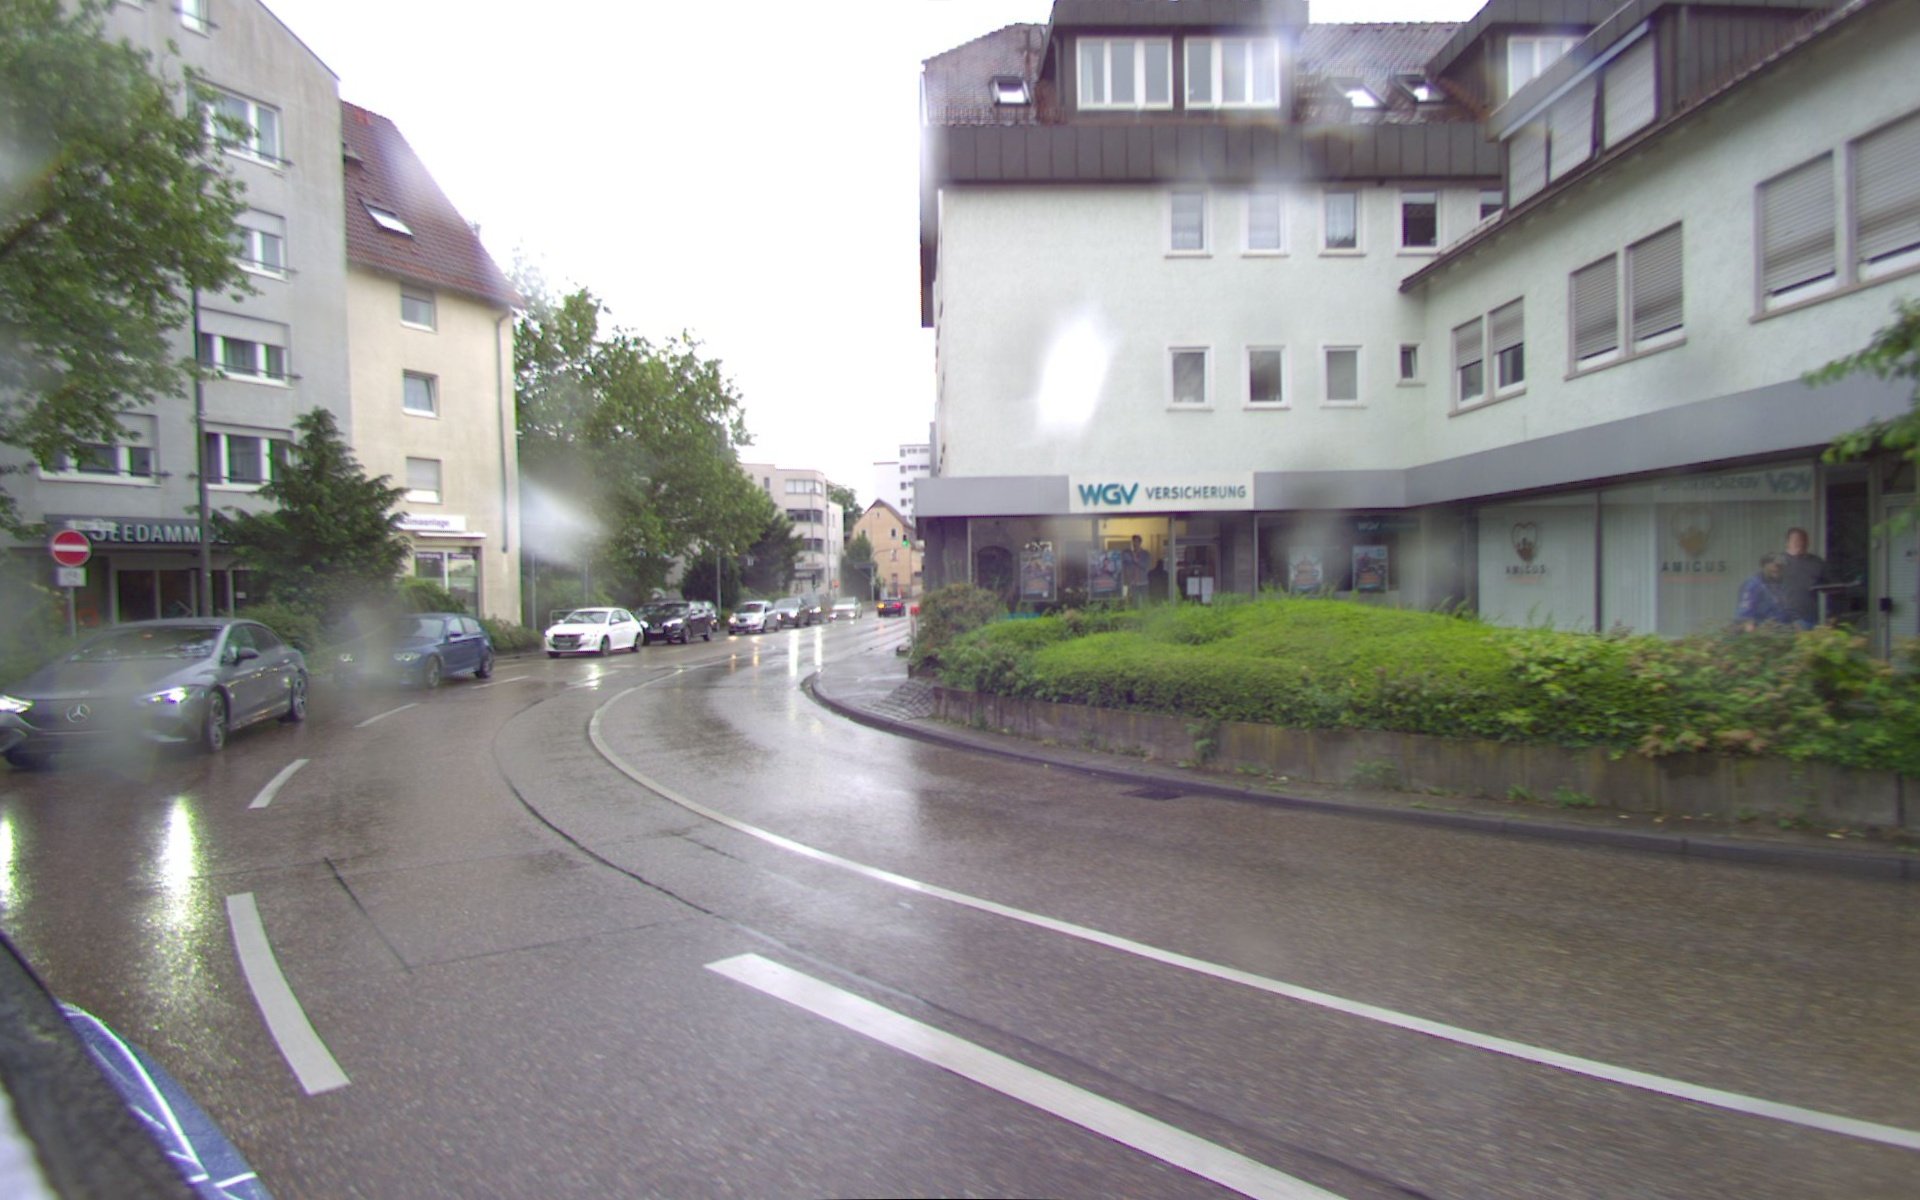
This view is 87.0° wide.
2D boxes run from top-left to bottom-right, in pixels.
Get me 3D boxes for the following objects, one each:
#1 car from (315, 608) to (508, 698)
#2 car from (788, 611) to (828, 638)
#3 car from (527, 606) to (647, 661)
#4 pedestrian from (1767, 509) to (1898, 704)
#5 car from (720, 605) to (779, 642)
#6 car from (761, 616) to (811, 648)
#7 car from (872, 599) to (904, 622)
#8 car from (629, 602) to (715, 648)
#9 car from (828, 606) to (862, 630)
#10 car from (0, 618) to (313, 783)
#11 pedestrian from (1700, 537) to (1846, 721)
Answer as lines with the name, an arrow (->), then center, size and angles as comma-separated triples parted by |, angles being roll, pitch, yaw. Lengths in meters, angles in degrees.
car -> -10.968, 0.987, 20.627 | 1.748, 1.544, 4.381 | -3, 0, -4
car -> -9.380, 1.500, 62.657 | 1.829, 1.489, 3.999 | -2, 0, 1
car -> -11.310, 0.980, 31.011 | 1.974, 1.464, 3.995 | -2, 0, 4
pedestrian -> 8.545, 0.061, 9.933 | 0.608, 1.833, 0.674 | -2, 0, -8
car -> -10.022, 1.084, 48.443 | 1.821, 1.633, 3.996 | -2, 0, 3
car -> -9.482, 1.738, 55.485 | 1.809, 1.563, 3.996 | -3, 0, 3
car -> -5.245, 0.742, 74.425 | 1.791, 1.577, 3.995 | -3, 0, 4
car -> -10.880, 0.911, 38.503 | 1.792, 1.577, 3.994 | -3, 0, 5
car -> -8.128, 1.279, 71.737 | 1.972, 1.564, 4.000 | -3, -1, -1
car -> -9.505, 1.019, 11.929 | 1.966, 1.504, 4.326 | -1, 0, -15
pedestrian -> 7.883, 0.268, 9.846 | 0.608, 1.684, 0.864 | -2, 0, -8
